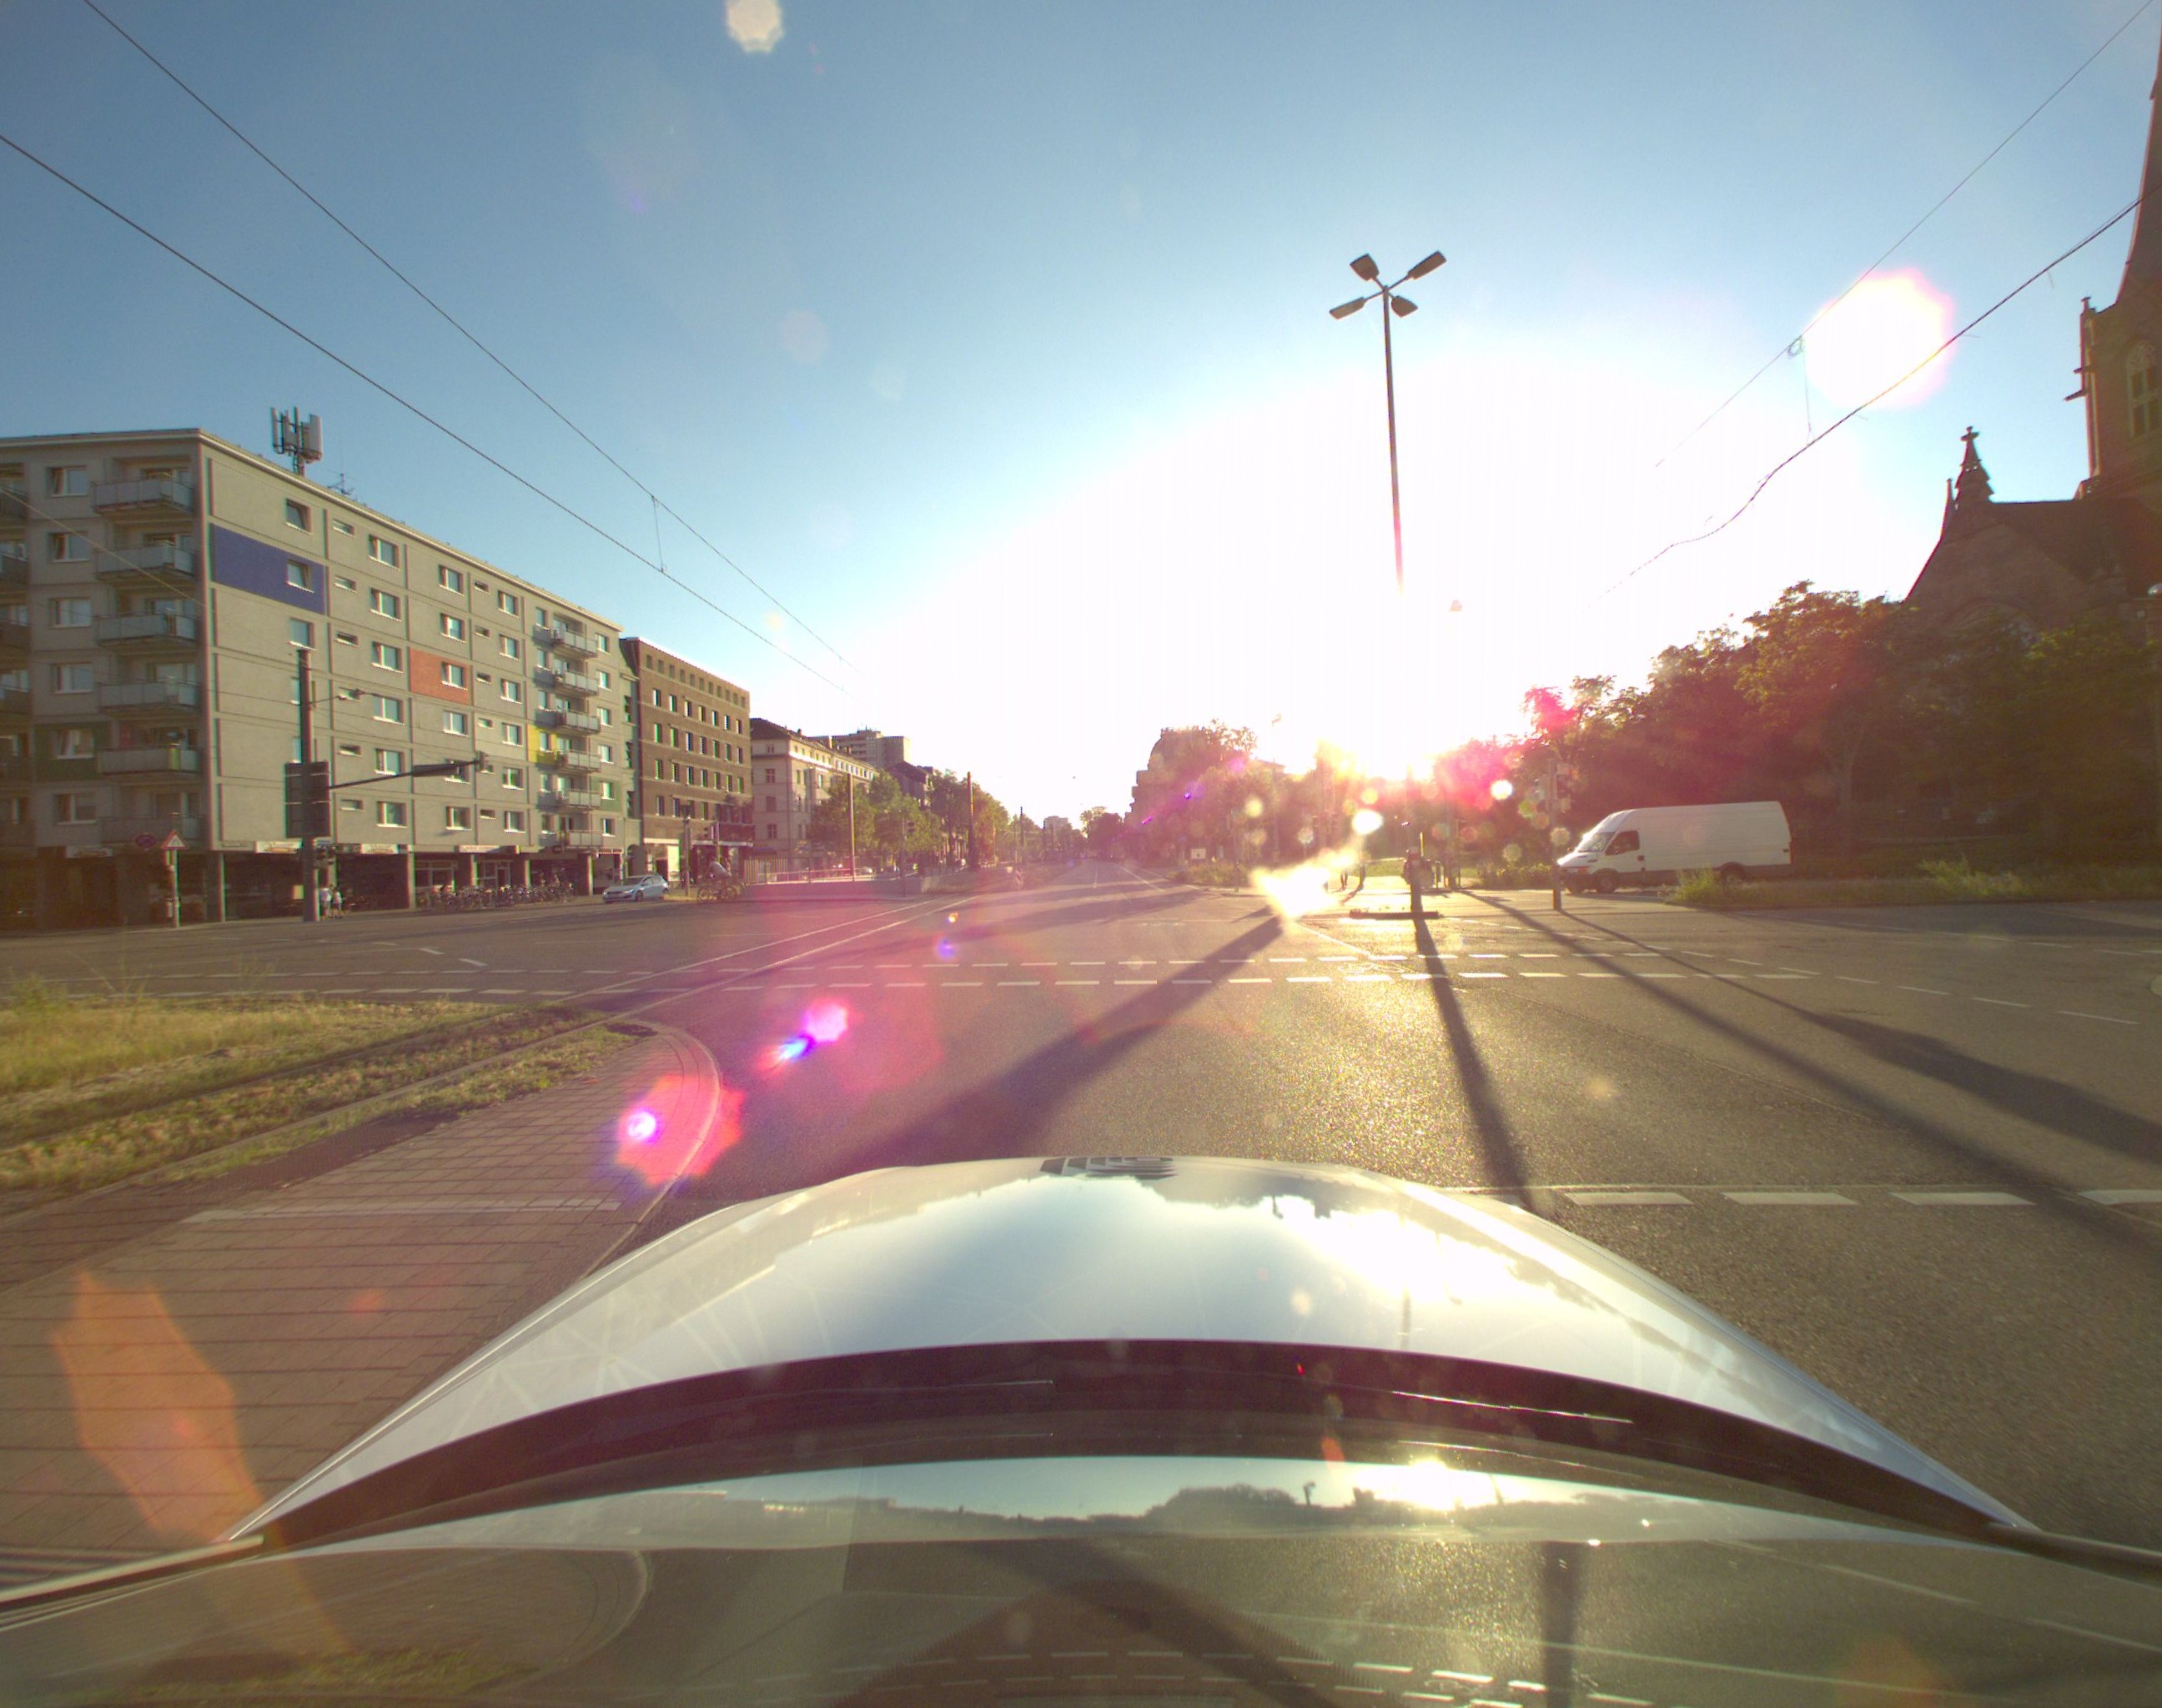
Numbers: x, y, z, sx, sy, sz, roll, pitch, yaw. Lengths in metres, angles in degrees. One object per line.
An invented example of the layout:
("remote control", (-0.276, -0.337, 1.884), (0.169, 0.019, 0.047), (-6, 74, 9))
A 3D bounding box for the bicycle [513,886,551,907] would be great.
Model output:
("bicycle", (-31.469, 2.431, 46.684), (1.748, 1.117, 0.552), (-2, -1, 2))

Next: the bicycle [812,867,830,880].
("bicycle", (-26.350, 1.938, 82.651), (0.809, 1.201, 2.415), (-2, 0, 4))

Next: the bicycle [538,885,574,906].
("bicycle", (-31.298, 2.471, 48.603), (1.683, 1.153, 0.706), (-2, -1, 3))

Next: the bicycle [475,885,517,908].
("bicycle", (-31.594, 2.292, 44.013), (1.782, 1.191, 0.652), (-2, -1, 1))

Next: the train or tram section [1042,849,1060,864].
("train or tram section", (-8.104, 0.582, 219.795), (4.375, 3.850, 11.399), (-2, 0, -2))

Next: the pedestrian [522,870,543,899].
("pedestrian", (-35.680, 1.985, 52.969), (0.826, 1.812, 0.718), (-2, 0, -9))

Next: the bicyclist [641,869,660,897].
("bicyclist", (-27.932, 1.881, 52.827), (0.697, 1.742, 0.794), (-2, -1, 13))

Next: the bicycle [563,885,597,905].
("bicycle", (-31.271, 2.542, 50.860), (1.683, 1.144, 0.697), (-2, -1, 3))

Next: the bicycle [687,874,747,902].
("bicycle", (-15.015, 1.392, 33.643), (2.168, 1.083, 0.536), (-2, 0, -16))

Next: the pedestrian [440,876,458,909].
("pedestrian", (-33.081, 2.002, 42.632), (0.581, 1.684, 0.543), (-2, 0, -19))

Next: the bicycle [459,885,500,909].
("bicycle", (-31.598, 2.270, 42.770), (1.759, 1.167, 0.540), (-2, -1, 2))

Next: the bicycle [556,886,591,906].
("bicycle", (-31.249, 2.579, 50.124), (1.683, 1.170, 0.749), (-2, -1, 3))

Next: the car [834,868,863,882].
("car", (-26.536, 2.391, 93.170), (1.810, 1.420, 4.006), (-2, 0, 5))

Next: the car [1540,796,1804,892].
("car", (19.281, -0.317, 26.841), (6.981, 2.828, 2.095), (-2, 0, 3))

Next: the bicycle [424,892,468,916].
("bicycle", (-32.429, 2.555, 41.576), (1.770, 1.142, 0.608), (-2, -1, 1))

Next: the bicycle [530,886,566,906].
("bicycle", (-31.372, 2.452, 47.915), (1.719, 1.124, 0.634), (-2, -1, 3))

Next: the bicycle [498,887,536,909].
("bicycle", (-31.931, 2.477, 46.115), (1.764, 1.136, 0.606), (-2, -1, 2))

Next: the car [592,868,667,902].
("car", (-24.483, 1.654, 44.348), (1.682, 1.618, 4.002), (-2, 0, 2))

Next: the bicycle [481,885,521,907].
("bicycle", (-32.378, 2.355, 45.463), (1.769, 1.159, 0.606), (-2, -1, 1))

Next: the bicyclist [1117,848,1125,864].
("bicyclist", (5.549, 0.311, 113.805), (1.078, 2.276, 0.986), (-1, 0, 1))

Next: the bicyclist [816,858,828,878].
("bicyclist", (-26.352, 1.447, 82.769), (0.793, 2.013, 0.924), (-2, 0, 3))

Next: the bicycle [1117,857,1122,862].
("bicycle", (7.747, 1.130, 164.248), (0.921, 1.111, 2.334), (-2, 0, 2))

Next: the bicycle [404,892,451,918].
("bicycle", (-32.543, 2.550, 40.549), (1.788, 1.208, 0.638), (-2, -1, 0))

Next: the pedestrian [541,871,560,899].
("pedestrian", (-34.676, 2.018, 53.231), (0.785, 1.841, 0.733), (-2, 0, -7))

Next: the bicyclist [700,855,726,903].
("bicyclist", (-14.308, 0.969, 31.708), (0.795, 1.818, 0.642), (-2, 0, -18))

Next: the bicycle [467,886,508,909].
("bicycle", (-31.579, 2.311, 43.359), (1.762, 1.182, 0.568), (-2, -1, 1))

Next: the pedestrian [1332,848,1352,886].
("pedestrian", (12.559, 0.627, 39.201), (0.826, 1.803, 0.814), (-2, 0, 17))

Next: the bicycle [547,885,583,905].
("bicycle", (-31.279, 2.487, 49.349), (1.683, 1.179, 0.749), (-2, -1, 3))

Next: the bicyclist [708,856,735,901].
("bicyclist", (-14.876, 1.011, 33.696), (0.878, 1.818, 0.535), (-2, 0, -16))

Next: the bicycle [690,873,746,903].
("bicycle", (-14.148, 1.331, 31.750), (1.906, 1.075, 0.628), (-2, 0, -18))

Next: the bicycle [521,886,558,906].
("bicycle", (-31.425, 2.427, 47.270), (1.754, 1.119, 0.568), (-2, -1, 2))

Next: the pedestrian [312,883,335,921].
("pedestrian", (-32.981, 2.079, 35.440), (0.575, 1.620, 0.598), (-2, 0, -29))

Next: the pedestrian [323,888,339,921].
("pedestrian", (-33.202, 2.230, 36.058), (0.383, 1.383, 0.392), (-2, 0, -26))

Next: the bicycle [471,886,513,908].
("bicycle", (-32.390, 2.358, 44.803), (1.824, 1.160, 0.640), (-2, -1, 1))

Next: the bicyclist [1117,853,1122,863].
("bicyclist", (7.732, 0.758, 164.266), (0.922, 2.014, 0.851), (-2, -1, 1))

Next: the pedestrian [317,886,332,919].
("pedestrian", (-33.750, 2.148, 36.342), (0.379, 1.448, 0.391), (-2, 0, -26))

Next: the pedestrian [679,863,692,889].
("pedestrian", (-33.975, 1.894, 69.981), (0.599, 2.178, 0.792), (-2, 0, 1))

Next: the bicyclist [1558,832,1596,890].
("bicyclist", (17.729, 0.259, 29.111), (0.894, 2.013, 0.723), (-2, 0, 7))

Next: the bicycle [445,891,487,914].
("bicycle", (-31.852, 2.507, 42.194), (1.750, 1.139, 0.600), (-2, -1, 2))

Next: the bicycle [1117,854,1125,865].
("bicycle", (5.554, 0.764, 113.811), (1.094, 1.399, 2.832), (-2, 0, 2))
